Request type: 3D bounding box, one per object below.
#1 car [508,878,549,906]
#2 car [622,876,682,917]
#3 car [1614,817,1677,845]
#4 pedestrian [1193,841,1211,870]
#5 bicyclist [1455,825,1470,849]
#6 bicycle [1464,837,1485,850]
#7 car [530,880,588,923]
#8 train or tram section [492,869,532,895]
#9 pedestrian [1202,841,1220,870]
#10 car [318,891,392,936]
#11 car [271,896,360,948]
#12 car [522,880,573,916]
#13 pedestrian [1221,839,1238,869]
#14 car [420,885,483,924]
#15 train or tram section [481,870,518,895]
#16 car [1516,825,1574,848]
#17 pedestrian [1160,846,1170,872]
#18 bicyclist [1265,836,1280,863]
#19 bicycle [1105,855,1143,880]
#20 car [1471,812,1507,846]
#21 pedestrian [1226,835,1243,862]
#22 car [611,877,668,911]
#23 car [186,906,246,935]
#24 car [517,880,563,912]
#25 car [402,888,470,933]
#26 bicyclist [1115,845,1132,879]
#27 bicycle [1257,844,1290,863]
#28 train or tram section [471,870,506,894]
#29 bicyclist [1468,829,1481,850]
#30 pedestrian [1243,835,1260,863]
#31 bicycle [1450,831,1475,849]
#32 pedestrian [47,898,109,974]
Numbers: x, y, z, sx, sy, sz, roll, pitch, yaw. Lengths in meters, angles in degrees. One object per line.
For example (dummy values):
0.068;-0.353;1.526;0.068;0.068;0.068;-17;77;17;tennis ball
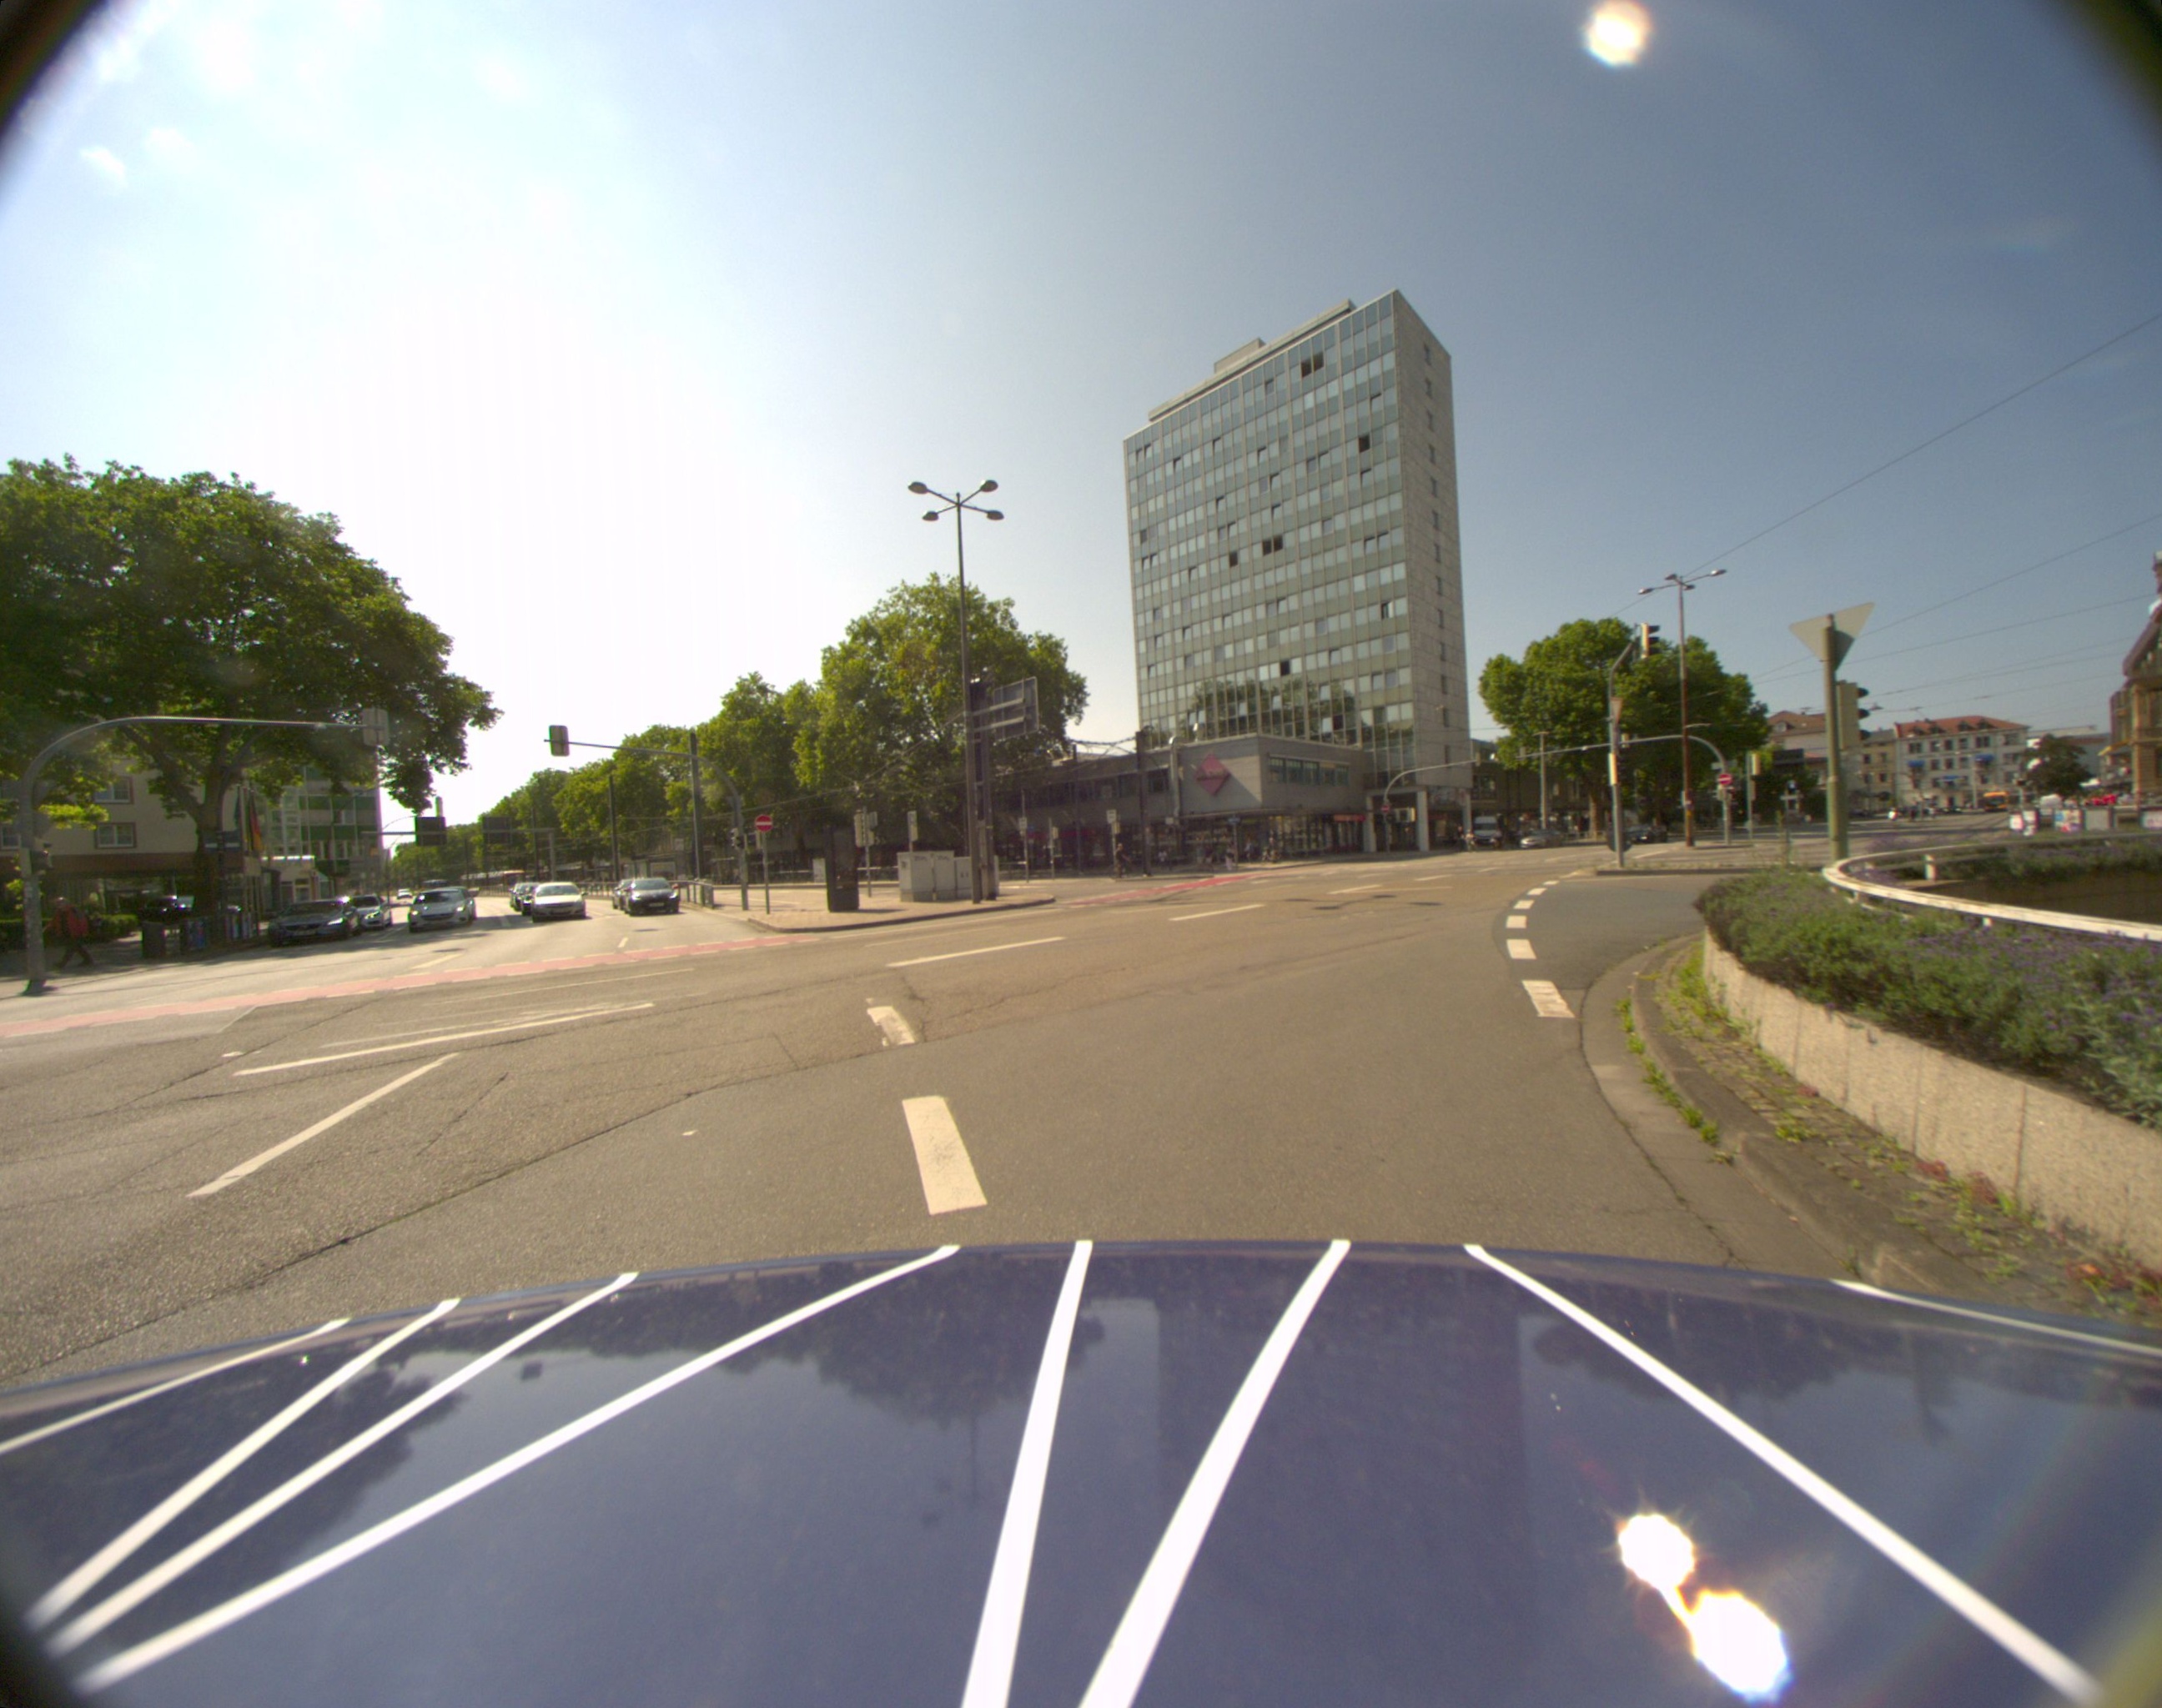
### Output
-34.036;2.306;46.897;1.795;1.514;3.964;-2;0;-33;car
-17.581;1.679;31.058;1.795;1.443;4.270;-2;0;-33;car
36.379;-1.496;48.920;4.085;1.525;1.878;-4;1;-33;car
7.671;0.100;48.183;0.733;1.825;0.825;-1;2;44;pedestrian
29.055;-1.280;57.859;0.685;1.759;0.695;-4;3;-29;bicyclist
28.860;-0.756;55.694;1.813;0.878;0.591;-4;3;-35;bicycle
-20.599;1.821;29.948;1.723;1.491;4.480;-2;-1;-36;car
-77.588;3.913;103.619;8.713;3.249;2.740;-3;1;43;train or tram section
8.153;0.090;47.689;0.669;1.825;0.825;-1;2;44;pedestrian
-29.466;2.365;30.941;1.795;1.516;3.963;-2;0;-39;car
-26.019;2.253;25.944;1.796;1.443;3.963;-2;0;-41;car
-25.265;2.036;36.084;1.795;1.514;3.964;-2;0;-33;car
9.303;-0.022;47.522;0.669;1.825;0.825;-1;2;43;pedestrian
-28.094;2.196;34.009;1.795;1.521;3.964;-2;0;-35;car
-83.896;4.101;109.582;8.713;3.249;2.740;-3;1;43;train or tram section
33.522;-1.252;54.890;4.170;1.452;1.878;-4;1;-33;car
5.543;0.327;50.144;0.599;1.628;0.566;-2;1;10;pedestrian
12.332;-0.302;48.933;0.684;1.677;0.583;-4;1;-16;bicyclist
2.176;0.675;38.456;1.818;1.160;0.521;-3;1;-19;bicycle
37.041;-2.335;68.947;1.743;2.899;4.644;-2;1;42;car
10.384;-0.345;51.375;0.824;1.796;0.670;-3;1;-17;pedestrian
-21.334;1.880;36.648;1.795;1.508;3.963;-2;0;-38;car
-46.629;3.561;41.015;1.594;1.314;3.570;-4;1;-41;car
-28.823;2.200;40.570;1.795;1.514;3.964;-2;0;-33;car
-24.091;2.058;28.480;1.795;1.443;3.963;-2;0;-39;car
2.149;0.407;38.445;0.684;1.697;0.521;-3;2;-19;bicyclist
12.406;-0.014;48.966;1.970;1.096;0.576;-3;1;-16;bicycle
-90.226;4.290;115.578;8.713;3.249;2.740;-3;1;43;train or tram section
28.824;-1.081;55.664;0.685;1.518;0.581;-4;3;-35;bicyclist
11.241;-0.317;50.127;0.824;1.825;0.670;-3;1;-15;pedestrian
29.022;-1.048;57.843;1.942;1.292;0.715;-4;3;-29;bicycle
-25.358;2.048;19.218;0.727;1.795;0.651;-4;1;-39;pedestrian
